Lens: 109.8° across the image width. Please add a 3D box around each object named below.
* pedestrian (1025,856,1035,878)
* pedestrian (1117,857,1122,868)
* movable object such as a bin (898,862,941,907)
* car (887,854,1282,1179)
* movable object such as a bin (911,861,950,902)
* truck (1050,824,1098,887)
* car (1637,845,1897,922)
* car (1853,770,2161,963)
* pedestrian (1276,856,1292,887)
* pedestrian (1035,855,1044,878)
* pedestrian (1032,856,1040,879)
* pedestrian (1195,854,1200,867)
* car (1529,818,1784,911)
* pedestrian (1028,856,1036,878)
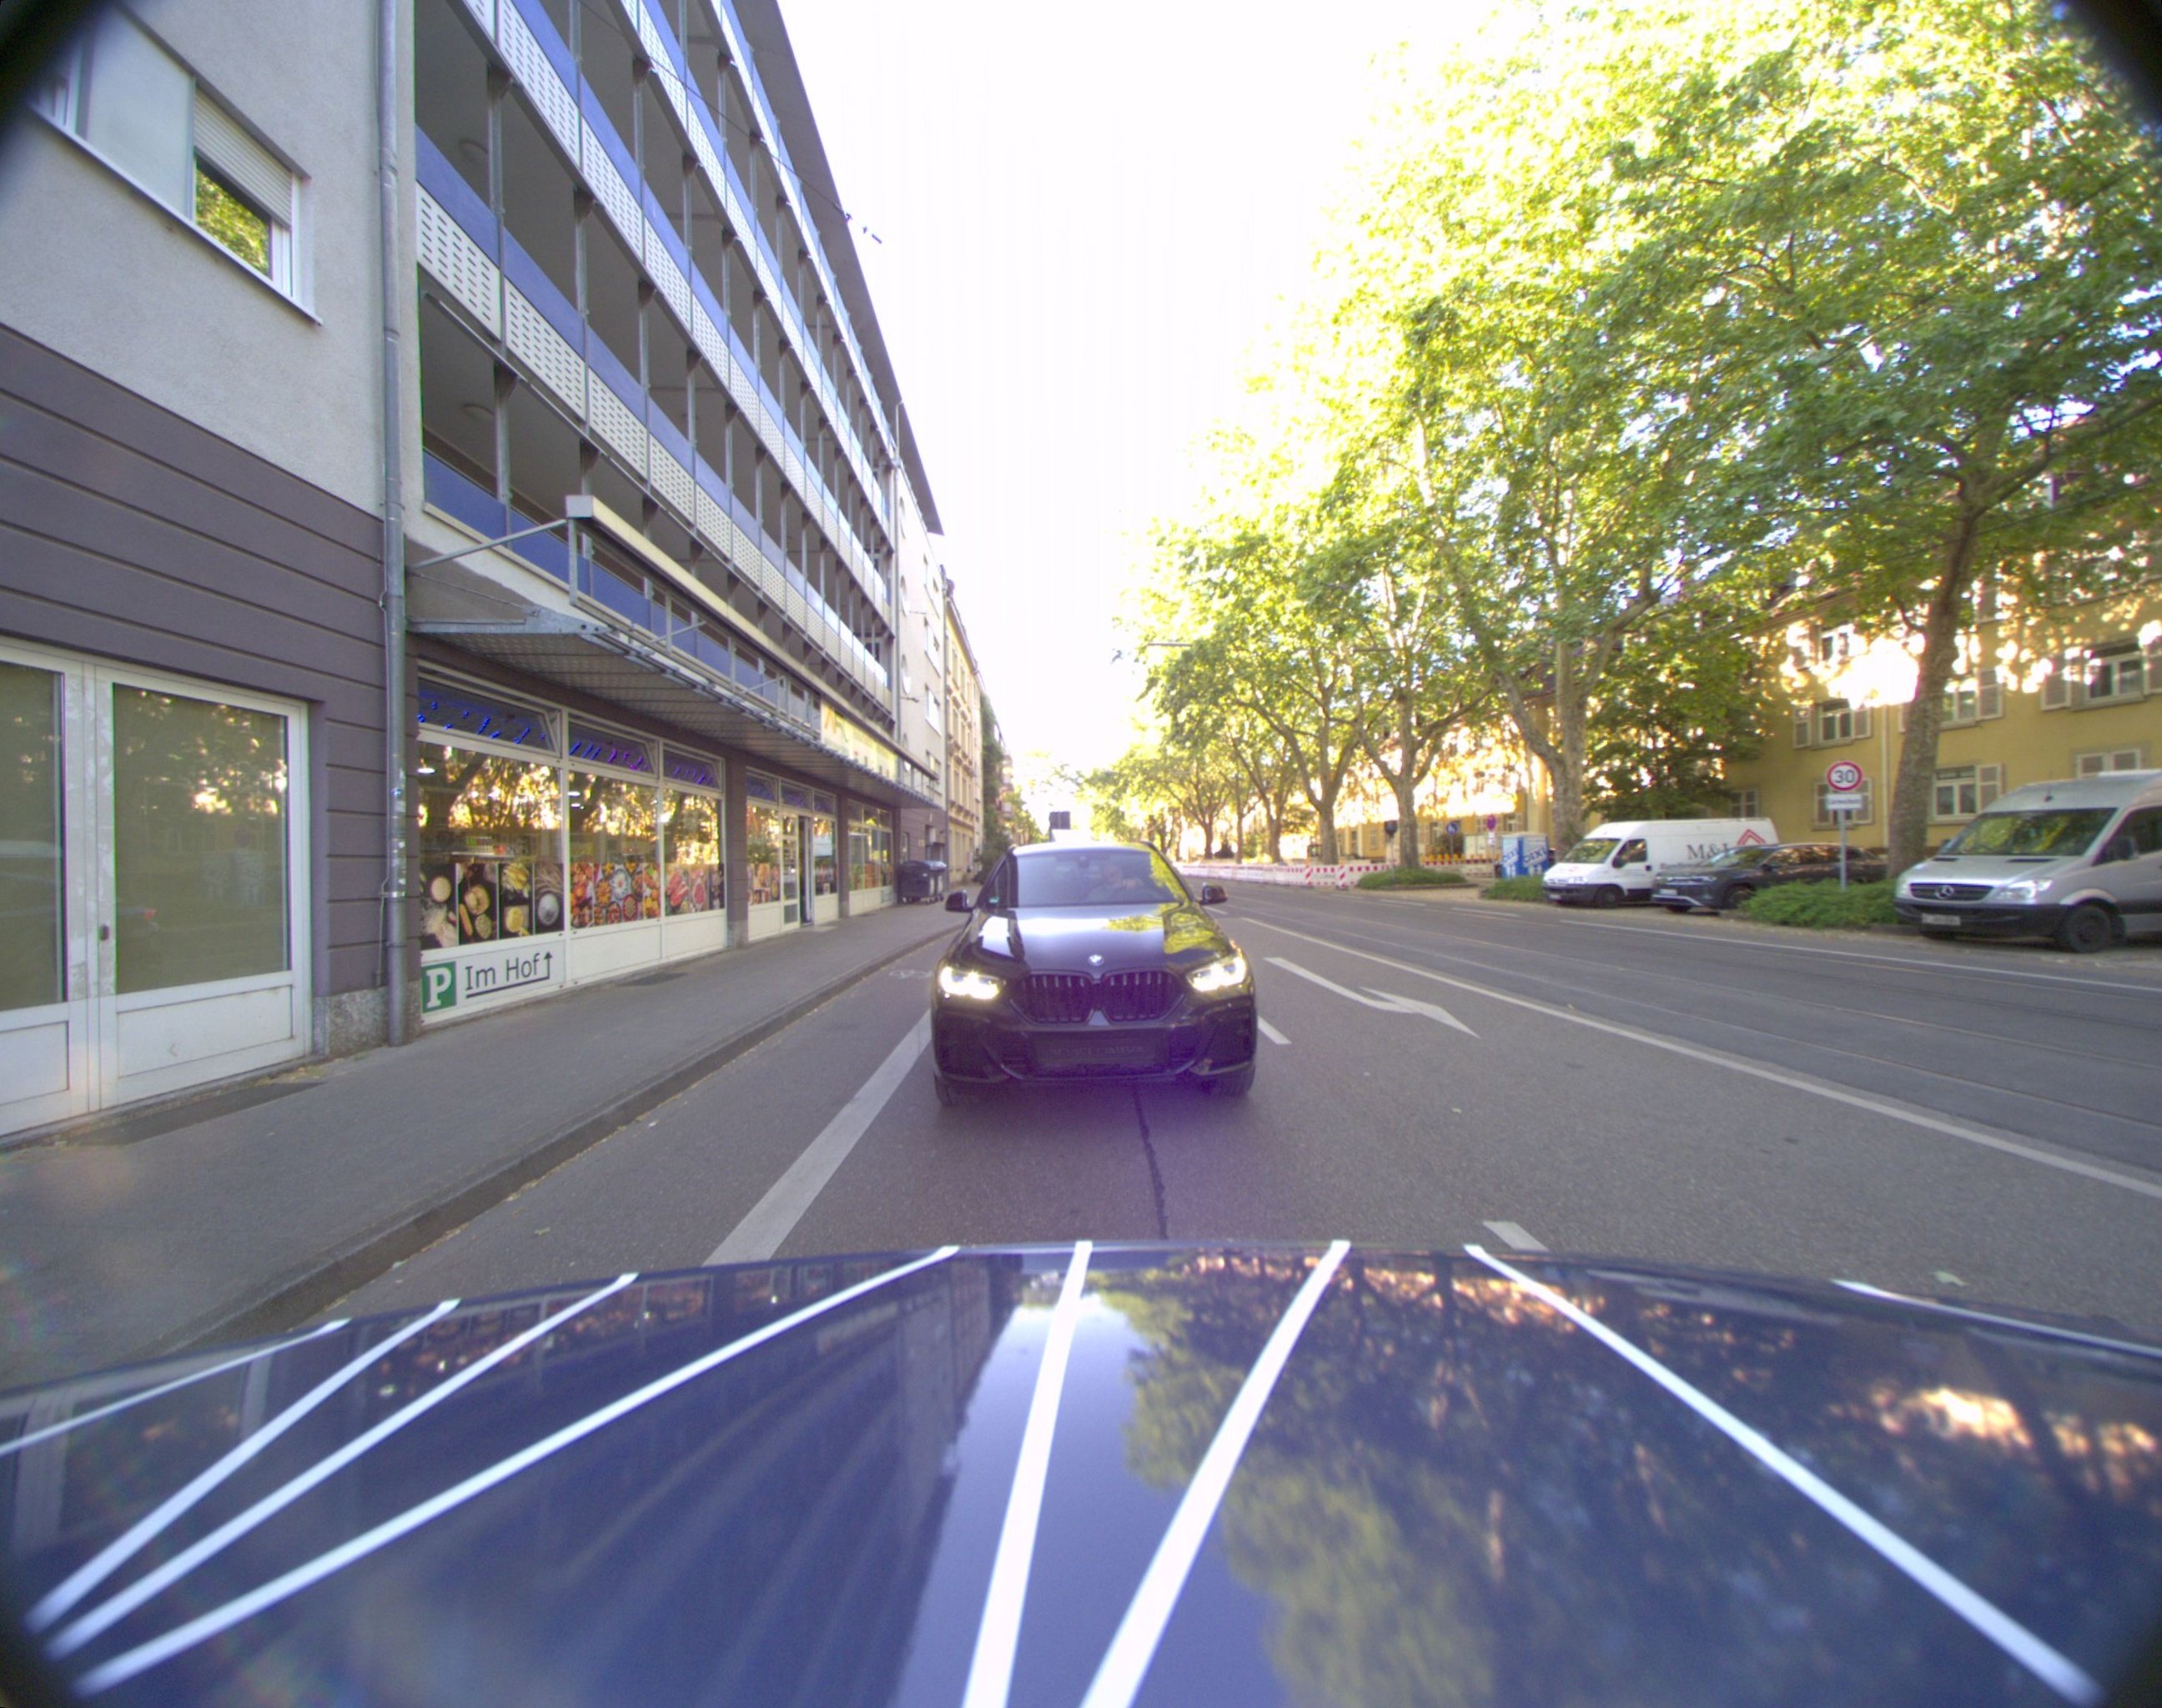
[{"bbox_3d":[-4.414,1.100,66.147,0.733,1.875,0.664,-2,1,-1],"label":"pedestrian"},{"bbox_3d":[6.912,1.544,135.818,0.733,1.875,0.741,-2,1,-1],"label":"pedestrian"},{"bbox_3d":[-5.226,0.976,24.656,1.158,1.418,0.939,-1,0,1],"label":"movable object such as a bin"},{"bbox_3d":[0.044,0.843,6.043,1.998,1.643,4.295,-1,0,1],"label":"car"},{"bbox_3d":[-5.281,0.952,26.694,1.158,1.418,0.939,-1,0,1],"label":"movable object such as a bin"},{"bbox_3d":[-0.314,0.120,42.154,2.394,3.170,6.587,-1,0,1],"label":"truck"},{"bbox_3d":[16.080,0.658,17.949,4.627,1.642,1.774,-1,0,-2],"label":"car"},{"bbox_3d":[15.986,0.129,11.867,5.666,2.666,2.223,-2,0,-2],"label":"car"},{"bbox_3d":[11.784,1.021,44.138,0.652,1.735,0.582,-2,1,-8],"label":"pedestrian"},{"bbox_3d":[-3.567,1.080,65.507,0.733,1.875,0.664,-2,1,-1],"label":"pedestrian"},{"bbox_3d":[-3.704,1.109,62.910,0.600,1.875,0.581,-2,1,-1],"label":"pedestrian"},{"bbox_3d":[16.283,0.916,106.120,0.732,1.875,0.665,-2,1,8],"label":"pedestrian"},{"bbox_3d":[15.846,0.290,21.157,5.404,2.362,2.223,-1,0,0],"label":"car"},{"bbox_3d":[-4.158,1.110,64.404,0.600,1.875,0.581,-2,1,-1],"label":"pedestrian"}]
